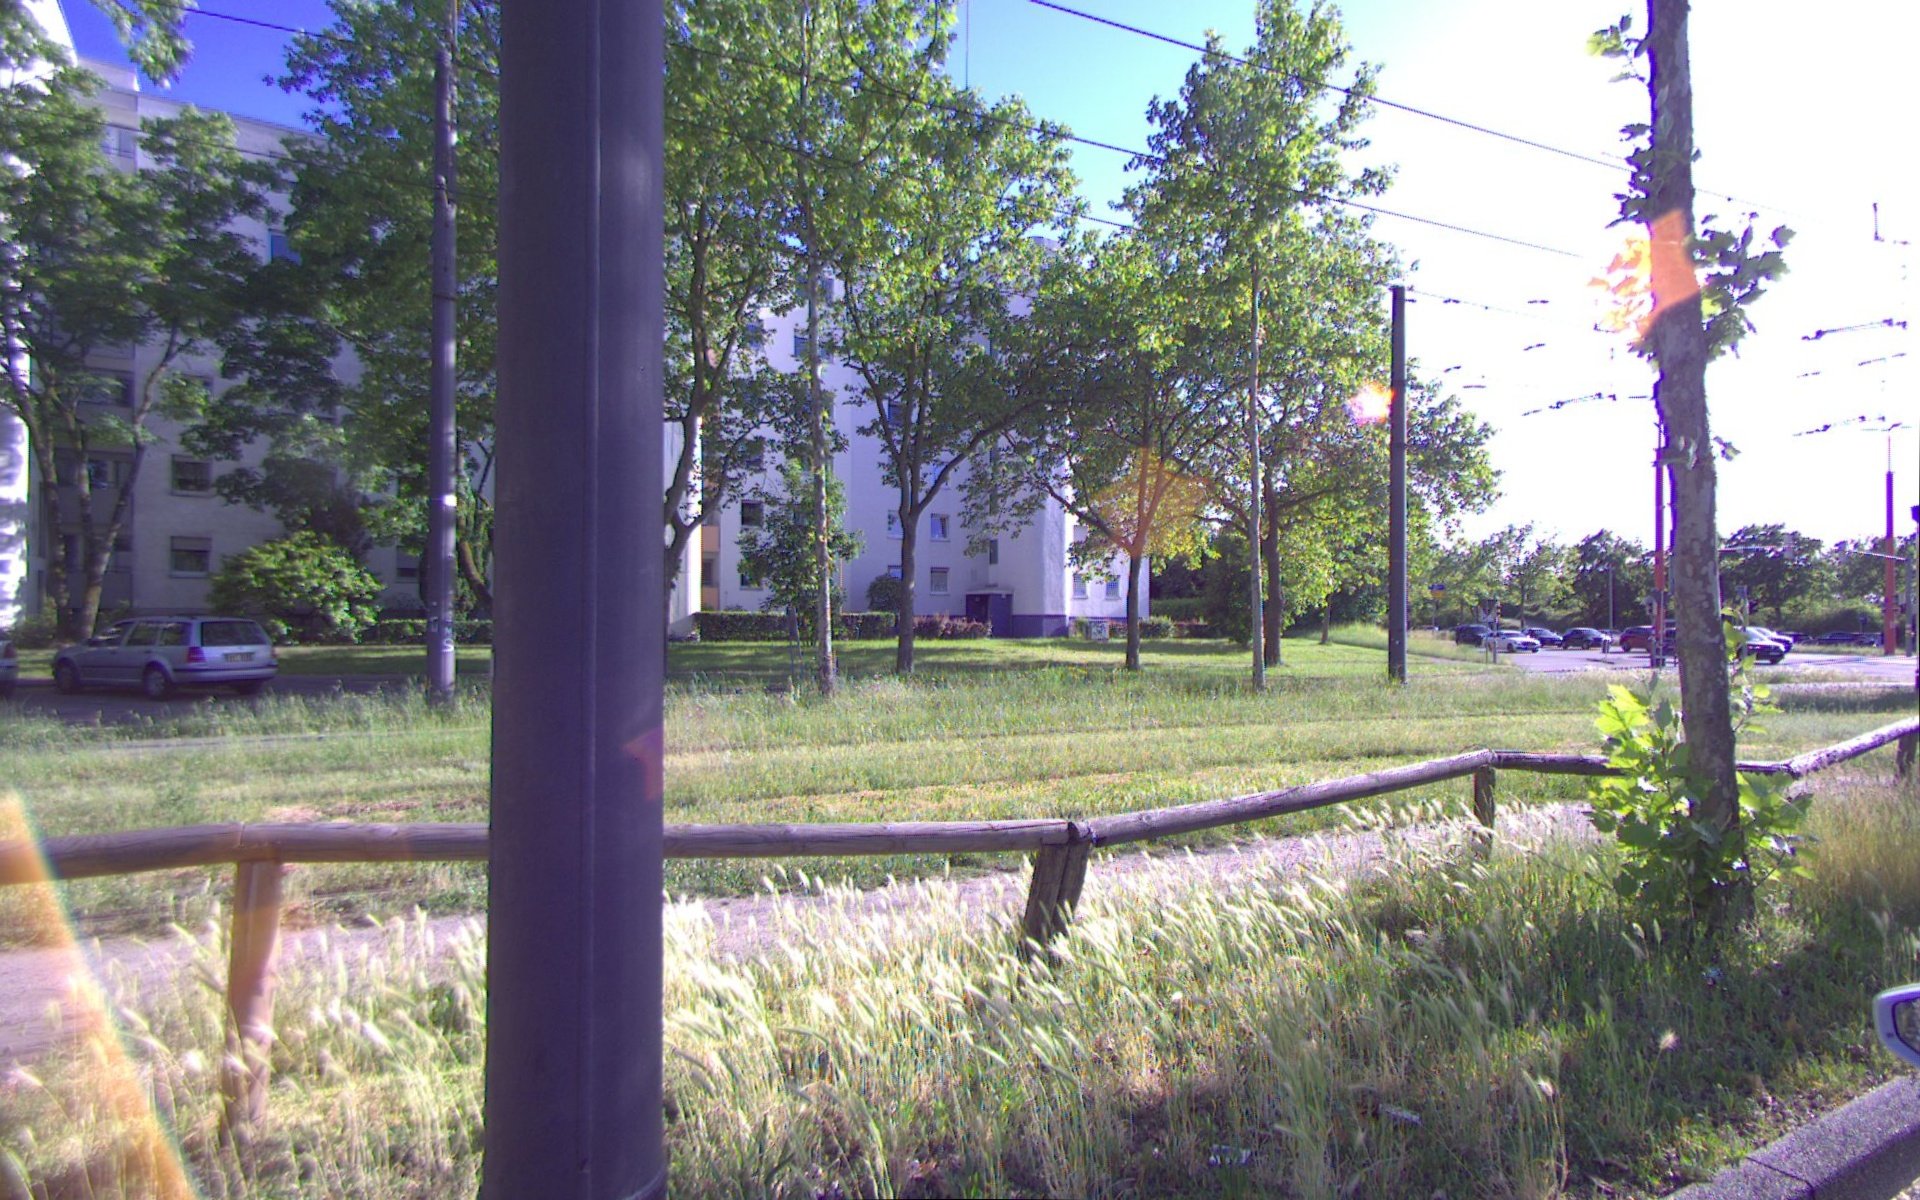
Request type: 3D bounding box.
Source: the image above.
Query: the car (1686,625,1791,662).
[{"bbox_3d":[39.369,2.175,50.947,1.807,1.755,4.356,1,-1,-3],"label":"car"}]

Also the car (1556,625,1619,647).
[{"bbox_3d":[45.000,2.567,72.138,1.877,1.483,4.055,1,-1,-3],"label":"car"}]

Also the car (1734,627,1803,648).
[{"bbox_3d":[65.833,3.040,81.877,1.961,1.617,4.466,1,-1,-3],"label":"car"}]

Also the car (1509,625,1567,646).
[{"bbox_3d":[44.824,2.744,77.947,1.877,1.483,4.239,1,-1,-3],"label":"car"}]

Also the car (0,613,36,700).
[{"bbox_3d":[-17.923,0.927,17.136,3.609,1.452,1.703,0,-1,20],"label":"car"}]

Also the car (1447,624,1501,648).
[{"bbox_3d":[42.102,2.951,82.432,1.877,1.860,4.795,1,-1,-2],"label":"car"}]

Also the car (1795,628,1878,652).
[{"bbox_3d":[63.046,2.844,72.372,1.961,1.617,4.466,1,-1,-3],"label":"car"}]

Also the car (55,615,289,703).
[{"bbox_3d":[-14.479,1.026,18.481,3.609,1.452,1.732,0,-1,20],"label":"car"}]

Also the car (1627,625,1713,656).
[{"bbox_3d":[42.147,2.386,59.731,1.806,1.690,4.565,1,-1,-1],"label":"car"}]

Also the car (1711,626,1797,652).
[{"bbox_3d":[48.620,2.393,61.638,1.877,1.483,4.222,1,-1,-2],"label":"car"}]

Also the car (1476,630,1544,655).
[{"bbox_3d":[38.506,2.933,70.455,1.961,1.596,4.929,1,-1,-2],"label":"car"}]
